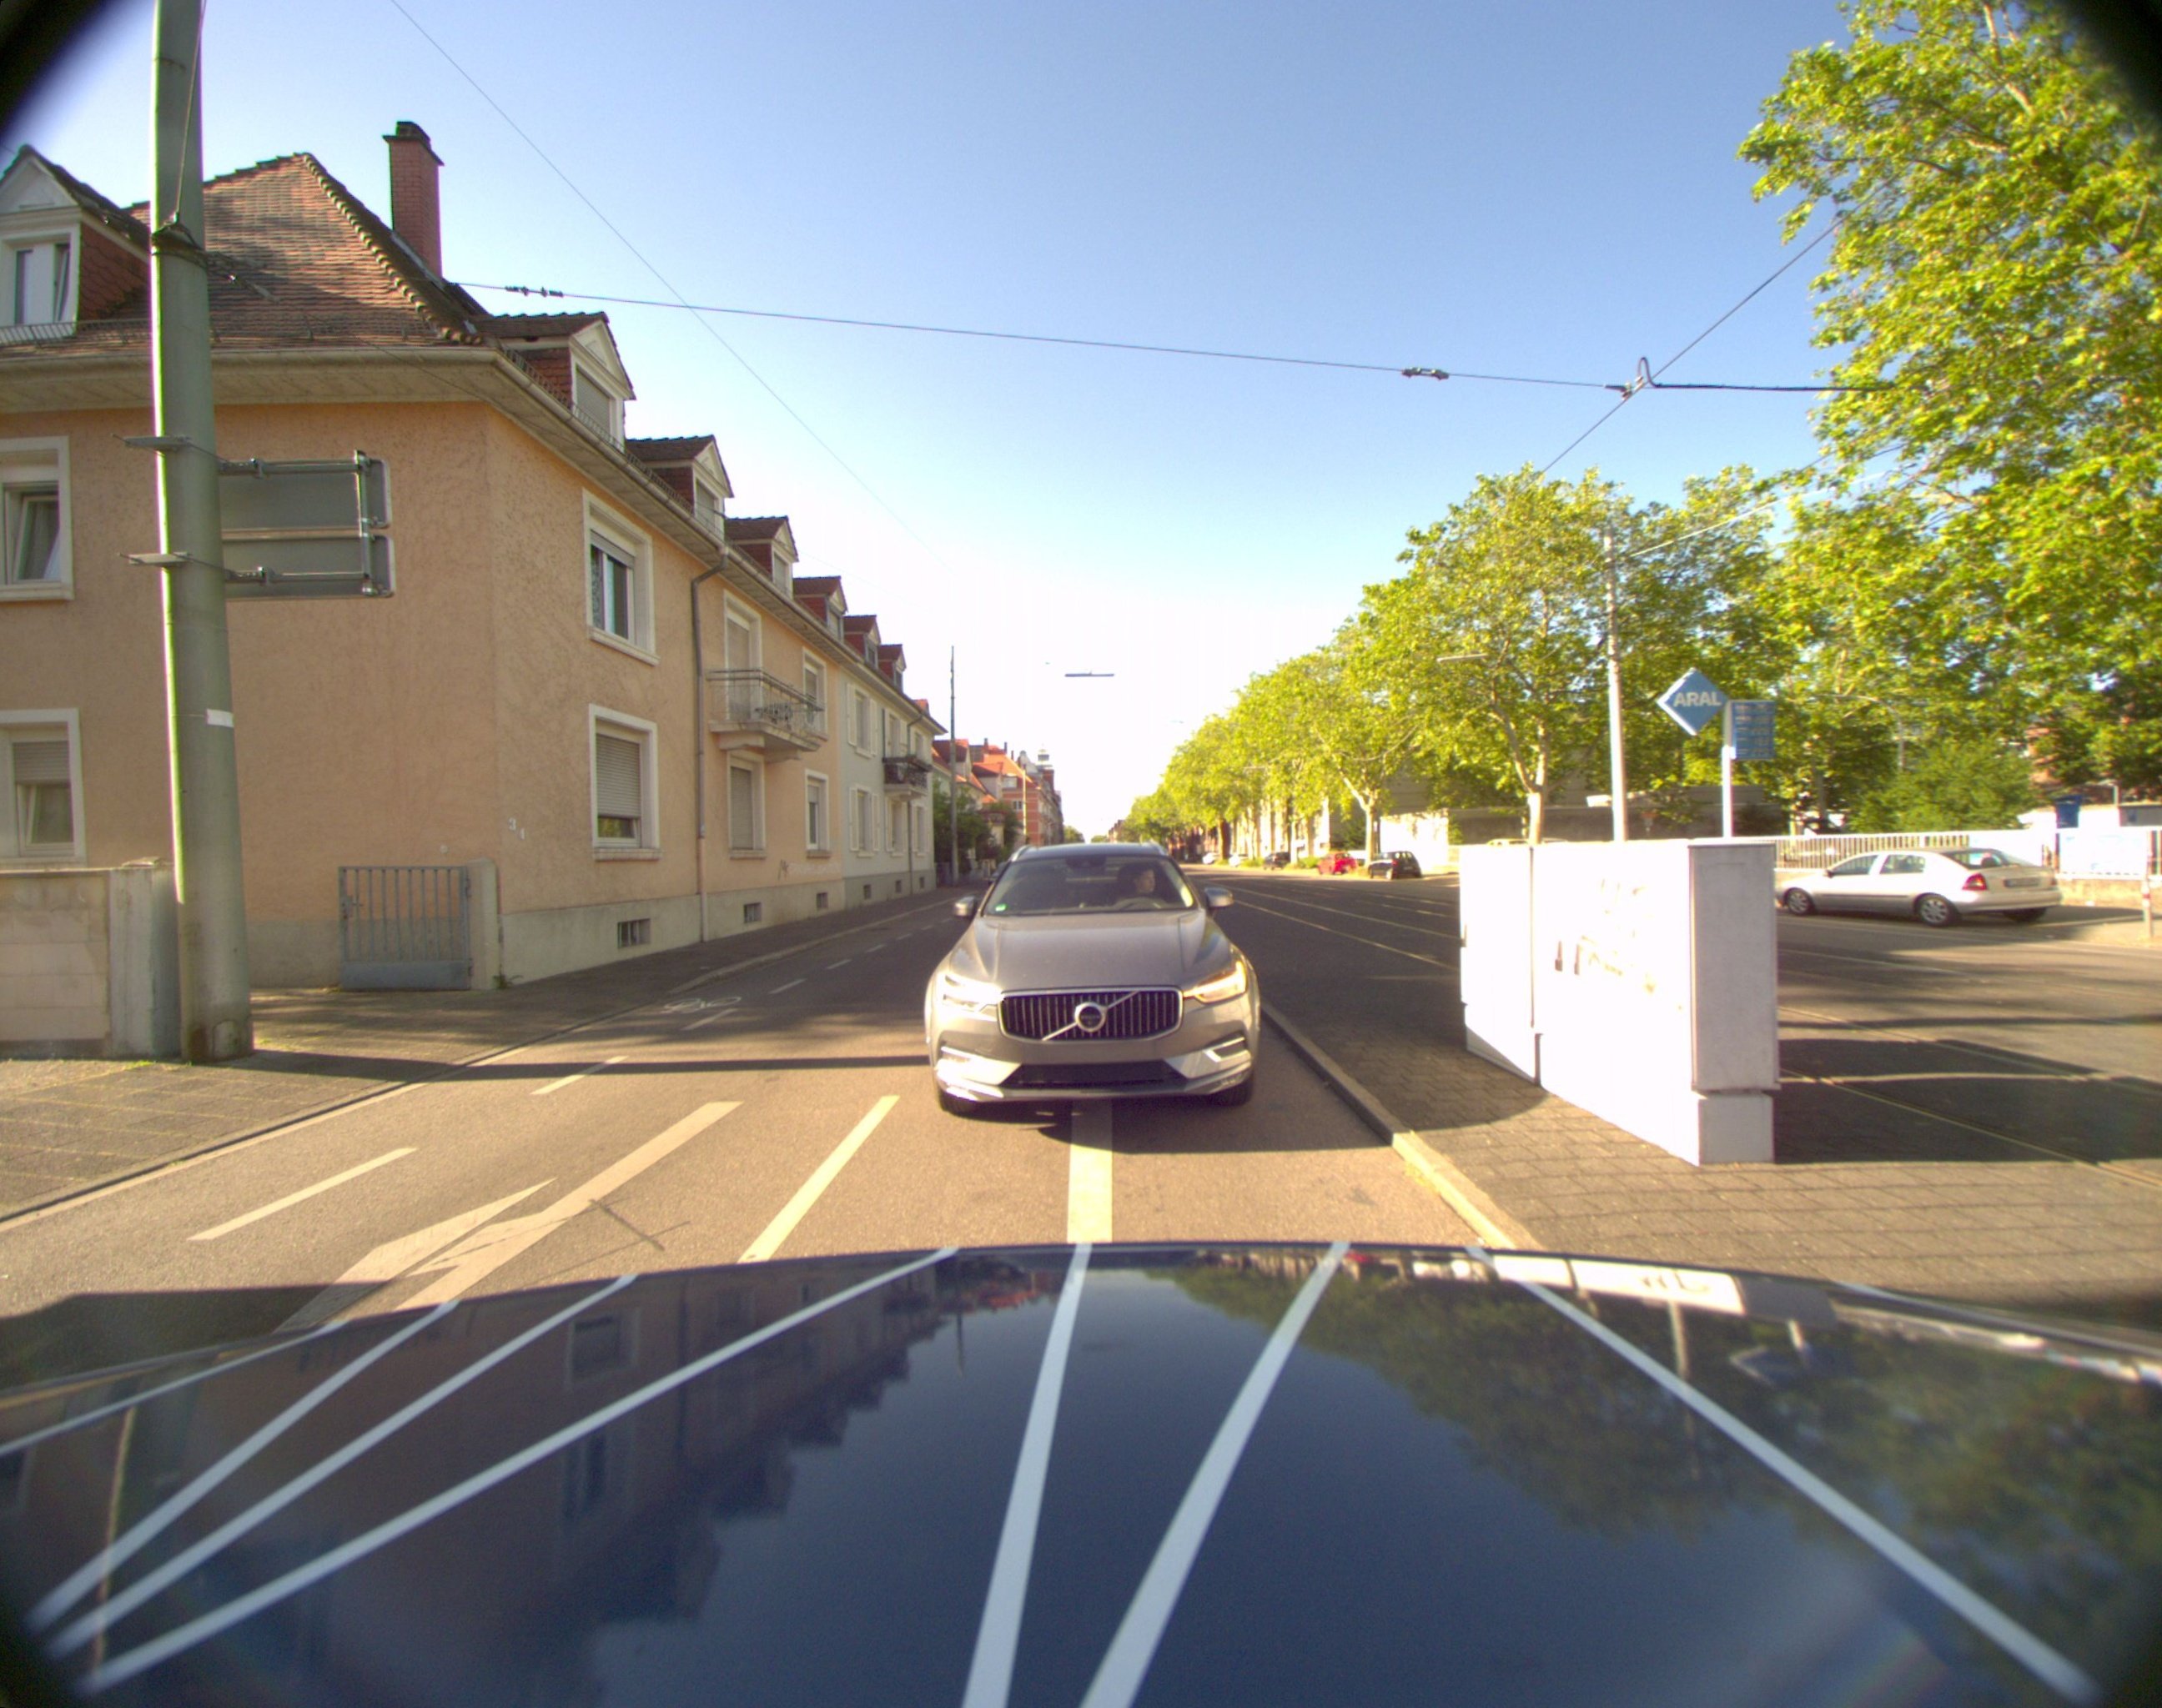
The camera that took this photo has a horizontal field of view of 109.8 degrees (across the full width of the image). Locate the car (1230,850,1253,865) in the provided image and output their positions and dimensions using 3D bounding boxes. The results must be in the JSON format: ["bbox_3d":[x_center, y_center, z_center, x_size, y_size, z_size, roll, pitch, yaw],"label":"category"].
[{"bbox_3d":[17.589,0.352,83.346,1.758,1.475,3.858,-3,0,3],"label":"car"}]

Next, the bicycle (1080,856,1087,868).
[{"bbox_3d":[0.250,0.770,70.106,0.550,1.056,1.794,-1,1,-1],"label":"bicycle"}]

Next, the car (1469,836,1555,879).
[{"bbox_3d":[21.820,0.168,38.644,1.999,2.002,3.999,-1,0,-1],"label":"car"}]

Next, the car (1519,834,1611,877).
[{"bbox_3d":[24.168,0.079,38.103,1.999,2.002,3.999,-1,0,-1],"label":"car"}]

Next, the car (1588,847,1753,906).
[{"bbox_3d":[16.486,0.569,21.518,1.745,1.389,3.858,-4,0,3],"label":"car"}]

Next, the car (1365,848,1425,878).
[{"bbox_3d":[16.900,0.457,41.045,1.758,1.449,3.858,-3,0,3],"label":"car"}]

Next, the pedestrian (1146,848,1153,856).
[{"bbox_3d":[19.028,-0.533,209.973,1.686,2.002,1.761,-1,1,1],"label":"pedestrian"}]

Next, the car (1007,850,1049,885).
[{"bbox_3d":[-2.904,0.701,42.834,1.867,1.778,5.297,-1,0,1],"label":"car"}]

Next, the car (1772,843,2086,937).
[{"bbox_3d":[16.246,0.608,14.910,1.847,1.477,3.858,-4,0,2],"label":"car"}]

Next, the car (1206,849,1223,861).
[{"bbox_3d":[17.684,0.160,100.940,1.758,1.475,3.858,-3,0,3],"label":"car"}]

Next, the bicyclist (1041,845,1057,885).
[{"bbox_3d":[-1.403,0.479,33.668,0.561,1.721,1.084,-2,1,1],"label":"bicyclist"}]

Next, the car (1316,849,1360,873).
[{"bbox_3d":[16.913,0.449,50.187,1.717,1.421,3.858,-3,0,3],"label":"car"}]

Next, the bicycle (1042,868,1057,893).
[{"bbox_3d":[-1.381,1.155,33.634,0.533,1.011,1.758,-1,0,1],"label":"bicycle"}]

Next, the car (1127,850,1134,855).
[{"bbox_3d":[15.002,-0.496,231.409,1.998,1.685,4.000,-1,0,1],"label":"car"}]

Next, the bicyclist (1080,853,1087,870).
[{"bbox_3d":[0.239,0.693,70.135,0.562,1.607,1.016,-2,1,0],"label":"bicyclist"}]

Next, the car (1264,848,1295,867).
[{"bbox_3d":[17.183,0.291,65.918,1.758,1.536,3.858,-3,0,3],"label":"car"}]

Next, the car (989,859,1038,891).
[{"bbox_3d":[-3.227,0.964,37.080,1.867,1.399,4.424,-1,0,1],"label":"car"}]

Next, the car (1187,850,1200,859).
[{"bbox_3d":[18.521,0.052,125.296,1.758,1.475,3.858,-3,0,3],"label":"car"}]

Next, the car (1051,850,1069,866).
[{"bbox_3d":[-2.313,0.429,85.454,1.867,1.653,4.078,-1,0,1],"label":"car"}]

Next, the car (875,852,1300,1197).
[{"bbox_3d":[0.064,0.817,5.984,1.998,1.609,4.697,-1,0,1],"label":"car"}]
